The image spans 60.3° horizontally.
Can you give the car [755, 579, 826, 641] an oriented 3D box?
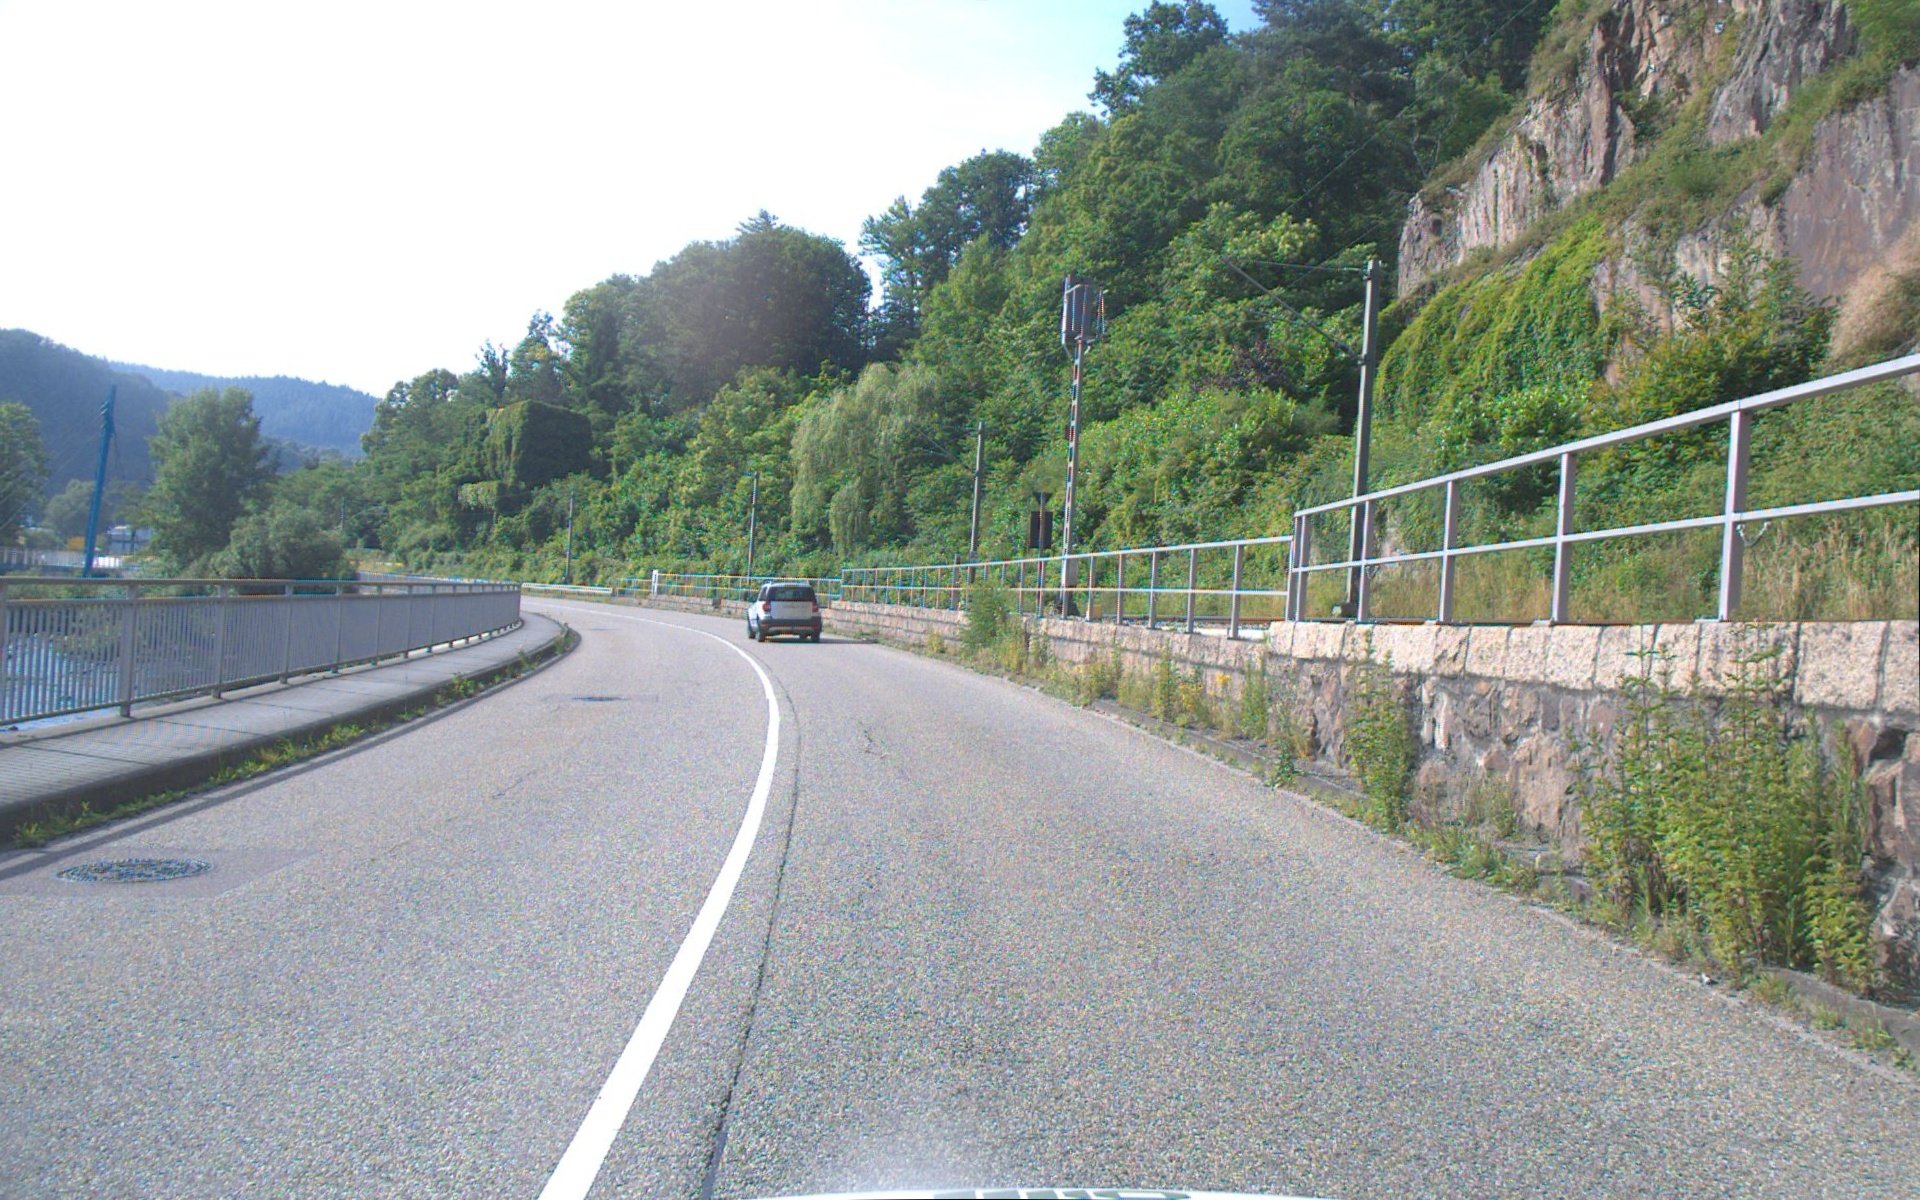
[{"bbox_3d":[-4.867,0.252,47.080,1.838,1.684,3.993,1,1,-8],"label":"car"}]
